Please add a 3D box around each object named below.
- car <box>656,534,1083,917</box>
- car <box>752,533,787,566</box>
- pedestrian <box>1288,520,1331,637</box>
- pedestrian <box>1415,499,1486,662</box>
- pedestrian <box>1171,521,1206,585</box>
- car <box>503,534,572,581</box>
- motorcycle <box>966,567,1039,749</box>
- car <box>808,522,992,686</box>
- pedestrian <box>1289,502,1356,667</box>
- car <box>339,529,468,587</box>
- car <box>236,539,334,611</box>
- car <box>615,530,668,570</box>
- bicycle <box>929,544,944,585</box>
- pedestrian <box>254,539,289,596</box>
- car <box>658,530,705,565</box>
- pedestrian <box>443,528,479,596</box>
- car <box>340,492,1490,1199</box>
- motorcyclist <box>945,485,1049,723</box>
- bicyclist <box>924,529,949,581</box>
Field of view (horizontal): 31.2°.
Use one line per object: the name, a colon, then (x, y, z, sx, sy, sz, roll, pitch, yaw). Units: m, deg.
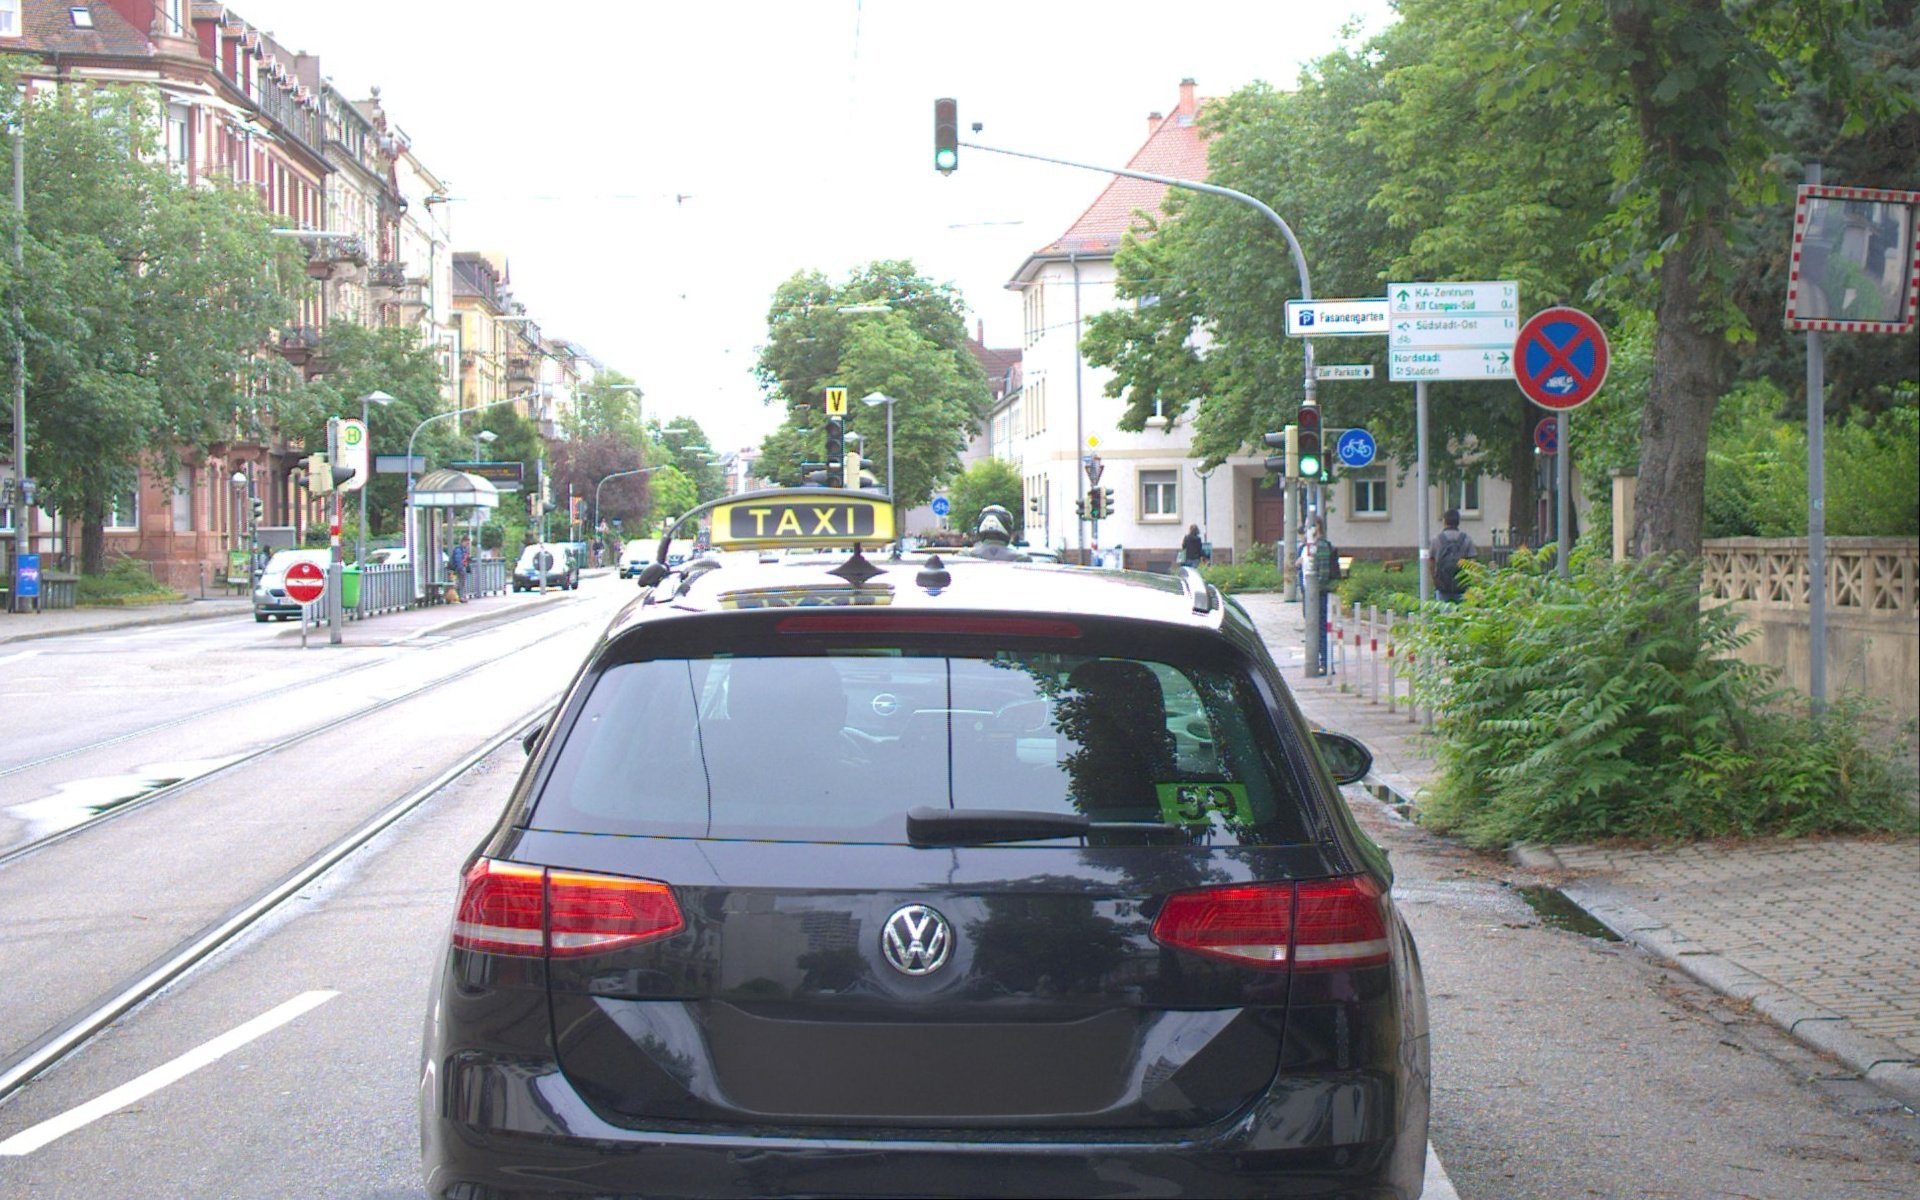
car: (-0.447, 0.468, 15.903, 1.723, 1.541, 4.001, 0, 1, -2)
car: (-11.593, -3.056, 209.432, 2.032, 2.007, 4.000, 0, 0, -2)
pedestrian: (5.533, -0.341, 54.464, 0.514, 1.824, 0.418, -4, 1, -1)
pedestrian: (5.516, -0.221, 38.671, 0.632, 1.808, 0.726, -1, 1, -5)
pedestrian: (5.544, -1.141, 83.313, 0.608, 1.548, 0.583, -1, 1, -41)
car: (-13.393, -1.363, 109.154, 1.721, 1.460, 3.864, -1, 1, 0)
motorcycle: (0.315, 0.392, 24.788, 0.446, 1.231, 1.907, -1, 1, 3)
car: (-0.647, -0.004, 34.403, 1.723, 1.541, 4.001, 0, 1, -2)
pedestrian: (4.126, -0.180, 39.144, 0.585, 1.824, 0.604, -4, 1, -1)
car: (-16.165, -1.223, 100.022, 1.723, 1.617, 3.858, 0, 1, 27)
car: (-13.806, -0.538, 70.470, 1.688, 1.406, 4.001, -1, 1, -7)
car: (-13.230, -2.084, 143.053, 1.795, 1.590, 4.000, -1, 1, 0)
bicycle: (-0.712, -1.091, 104.335, 0.297, 1.219, 1.430, -1, 1, 5)
pedestrian: (-18.262, -0.858, 91.196, 0.589, 1.515, 0.648, 0, 1, 33)
car: (-12.909, -2.443, 159.321, 1.795, 1.590, 4.000, -1, 1, 0)
pedestrian: (-11.253, -0.854, 77.482, 0.714, 1.515, 0.590, -1, 1, -1)
car: (-0.143, 0.568, 7.163, 1.723, 1.541, 4.001, 0, 1, -2)
motorcyclist: (0.274, 0.022, 24.864, 0.703, 1.686, 0.804, -1, 1, 3)
bicyclist: (-0.713, -1.364, 104.343, 0.651, 1.563, 0.695, -1, 1, 5)
